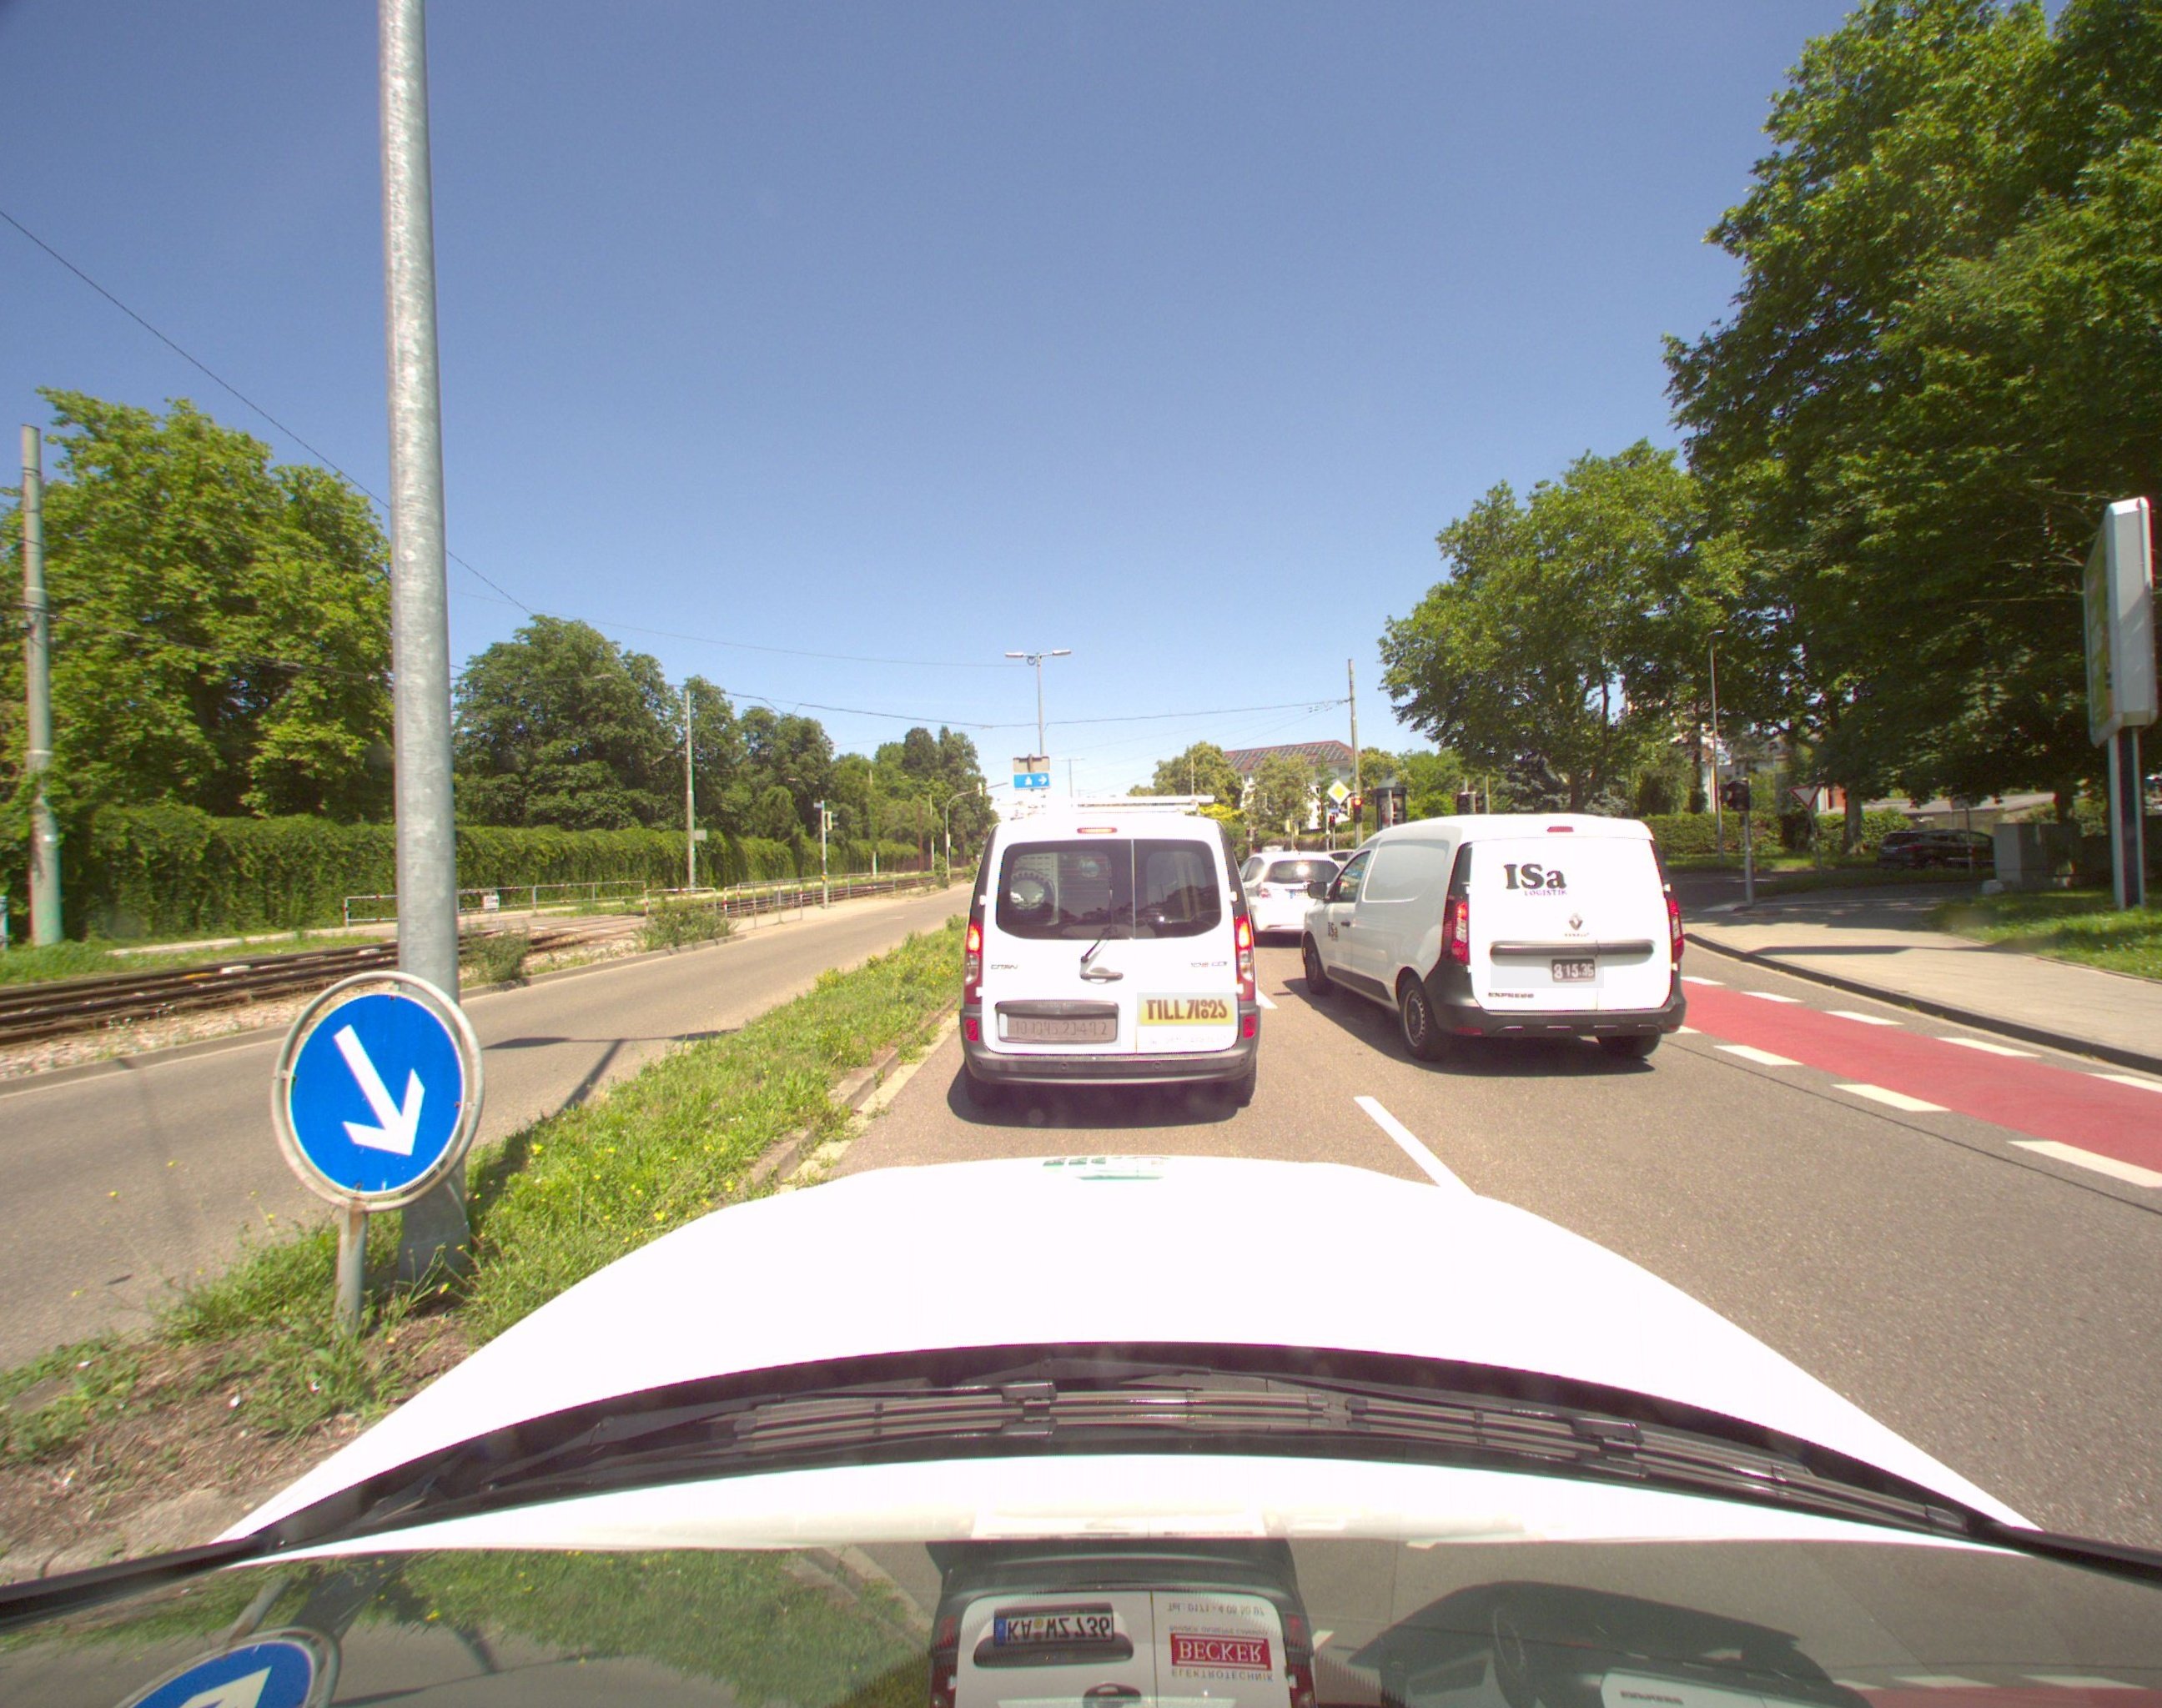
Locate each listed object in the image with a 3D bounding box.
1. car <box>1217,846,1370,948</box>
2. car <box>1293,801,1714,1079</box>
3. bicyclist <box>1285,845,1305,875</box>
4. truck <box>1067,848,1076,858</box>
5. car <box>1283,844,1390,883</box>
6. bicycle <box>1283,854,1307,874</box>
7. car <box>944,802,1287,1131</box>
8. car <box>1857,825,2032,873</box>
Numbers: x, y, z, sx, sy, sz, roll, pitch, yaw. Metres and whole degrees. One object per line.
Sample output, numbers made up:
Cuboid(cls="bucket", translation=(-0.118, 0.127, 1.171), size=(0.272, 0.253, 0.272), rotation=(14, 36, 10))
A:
Cuboid(cls="car", translation=(3.630, 0.659, 14.658), size=(1.828, 1.568, 4.002), rotation=(0, 0, 2))
Cuboid(cls="car", translation=(3.262, 0.566, 7.307), size=(1.721, 1.788, 4.065), rotation=(0, 0, 1))
Cuboid(cls="bicyclist", translation=(13.157, 0.346, 50.008), size=(0.971, 1.788, 0.725), rotation=(-2, -1, -4))
Cuboid(cls="truck", translation=(-2.445, -0.327, 218.810), size=(2.131, 2.587, 5.891), rotation=(0, -1, 2))
Cuboid(cls="car", translation=(10.608, 0.414, 33.859), size=(3.949, 1.520, 1.763), rotation=(-2, -1, 29))
Cuboid(cls="bicycle", translation=(13.125, 0.615, 50.028), size=(0.890, 1.159, 1.954), rotation=(-2, -1, -3))
Cuboid(cls="car", translation=(0.253, 0.613, 6.560), size=(1.814, 1.739, 4.398), rotation=(-1, 0, 2))
Cuboid(cls="car", translation=(30.447, -0.166, 28.856), size=(3.958, 1.597, 1.706), rotation=(-1, 0, 15))
